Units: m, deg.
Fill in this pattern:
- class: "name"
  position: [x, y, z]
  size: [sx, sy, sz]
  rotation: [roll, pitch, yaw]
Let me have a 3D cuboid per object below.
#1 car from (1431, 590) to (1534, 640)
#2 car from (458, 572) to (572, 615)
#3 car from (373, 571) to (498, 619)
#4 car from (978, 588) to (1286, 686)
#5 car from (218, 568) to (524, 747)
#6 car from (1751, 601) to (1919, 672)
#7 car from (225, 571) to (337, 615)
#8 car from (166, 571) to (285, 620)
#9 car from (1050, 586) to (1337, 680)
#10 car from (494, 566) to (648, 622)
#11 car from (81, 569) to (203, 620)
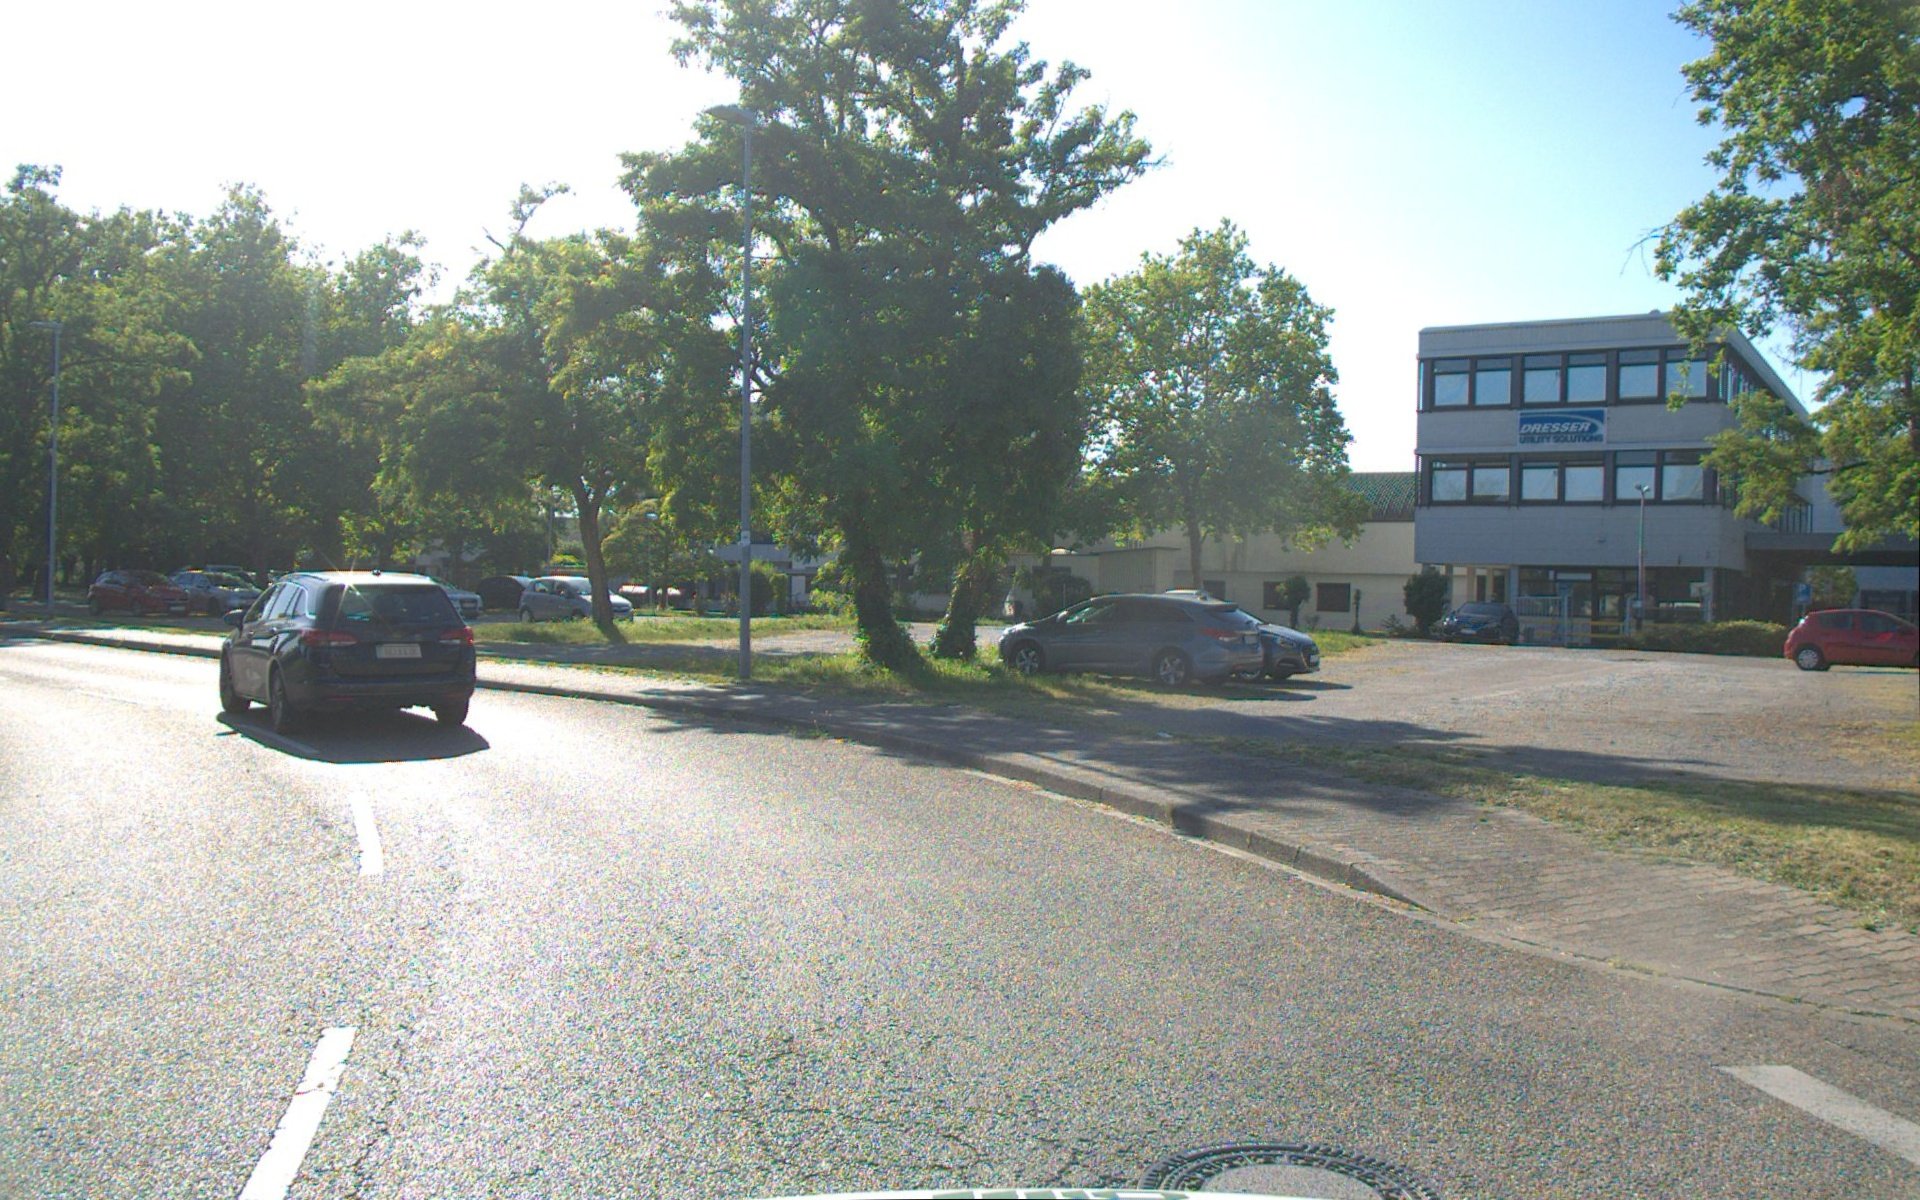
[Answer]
- class: "car"
  position: [17.717, 0.467, 55.933]
  size: [1.959, 1.510, 4.910]
  rotation: [1, 2, 35]
- class: "car"
  position: [-16.966, -0.263, 62.949]
  size: [4.841, 1.510, 1.987]
  rotation: [2, 1, 43]
- class: "car"
  position: [-17.944, -0.183, 56.498]
  size: [4.841, 1.510, 1.987]
  rotation: [2, 1, 43]
- class: "car"
  position: [2.878, 0.569, 28.107]
  size: [4.822, 1.451, 1.995]
  rotation: [2, 1, 32]
- class: "car"
  position: [-6.065, 0.449, 16.692]
  size: [1.925, 1.514, 4.513]
  rotation: [-1, 2, -33]
- class: "car"
  position: [21.807, 0.855, 39.648]
  size: [4.830, 1.510, 1.992]
  rotation: [2, 2, 37]
- class: "car"
  position: [-24.970, -0.264, 60.715]
  size: [4.841, 1.510, 1.987]
  rotation: [2, 1, 43]
- class: "car"
  position: [-24.857, -0.171, 55.899]
  size: [4.841, 1.510, 1.987]
  rotation: [2, 1, 43]
- class: "car"
  position: [4.240, 0.545, 30.318]
  size: [4.822, 1.510, 1.995]
  rotation: [2, 1, 32]
- class: "car"
  position: [-11.280, -0.202, 47.784]
  size: [4.841, 1.510, 1.987]
  rotation: [2, 1, 43]
- class: "car"
  position: [-26.471, -0.198, 53.448]
  size: [4.841, 1.510, 1.987]
  rotation: [2, 1, 43]
